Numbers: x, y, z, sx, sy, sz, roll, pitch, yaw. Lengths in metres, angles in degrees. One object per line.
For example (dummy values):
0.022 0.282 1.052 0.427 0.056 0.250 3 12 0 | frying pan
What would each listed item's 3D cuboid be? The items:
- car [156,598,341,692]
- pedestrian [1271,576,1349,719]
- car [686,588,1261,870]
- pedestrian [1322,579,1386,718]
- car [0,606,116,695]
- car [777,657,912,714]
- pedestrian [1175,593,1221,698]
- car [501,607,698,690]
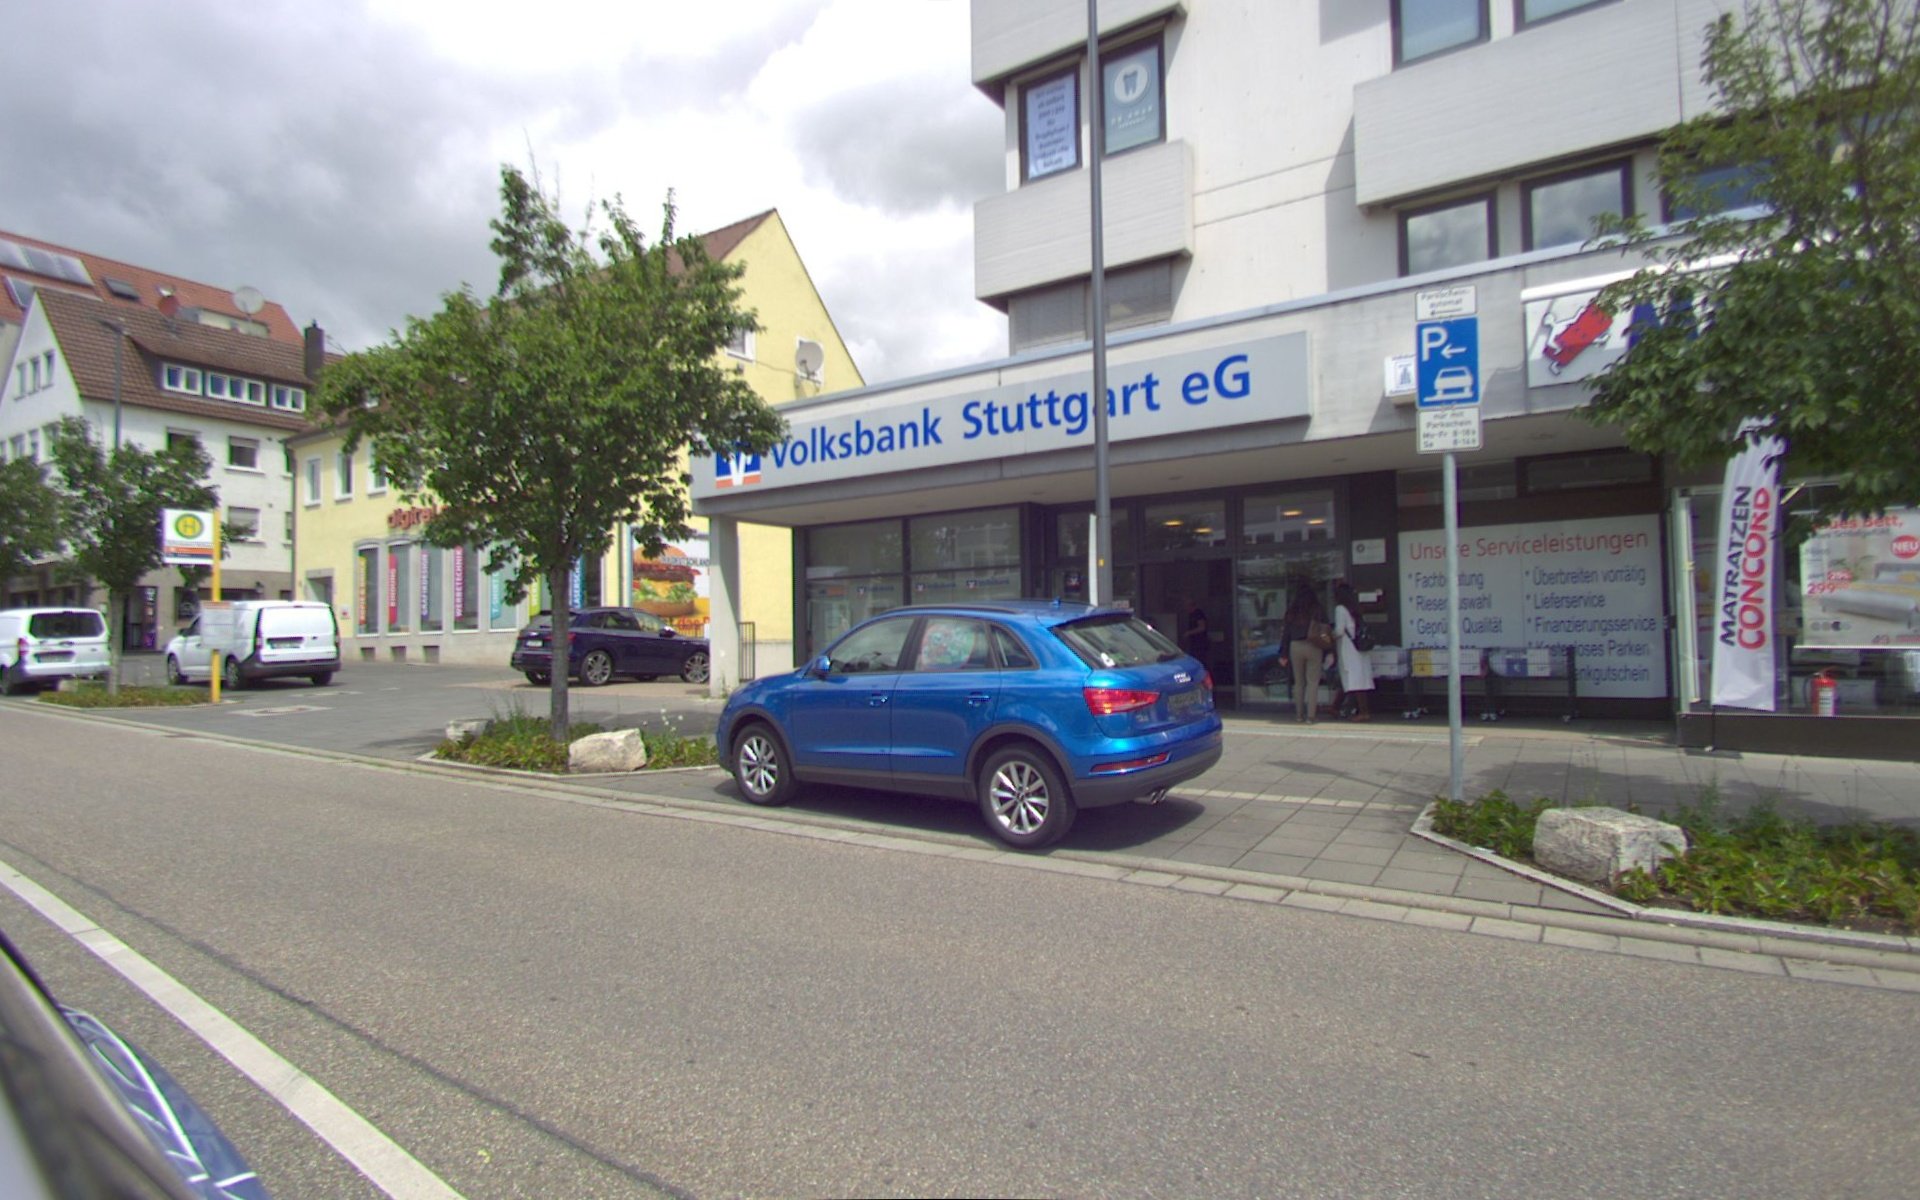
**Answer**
-15.384 0.908 21.815 4.463 1.827 1.742 -1 0 33 | car
4.030 0.545 11.672 0.577 1.578 0.646 3 -4 -41 | pedestrian
-0.079 0.774 7.876 4.325 1.611 1.678 -1 1 38 | car
4.611 0.564 11.838 0.585 1.578 0.505 -1 -3 36 | pedestrian
-19.528 0.996 21.144 4.336 1.684 1.644 -1 -1 32 | car
-3.170 2.353 28.545 1.645 1.420 3.954 -1 -3 34 | car
4.036 0.777 17.161 0.583 1.718 0.639 -3 -4 25 | pedestrian
-7.376 0.937 21.001 1.664 1.570 3.598 -1 -1 33 | car
